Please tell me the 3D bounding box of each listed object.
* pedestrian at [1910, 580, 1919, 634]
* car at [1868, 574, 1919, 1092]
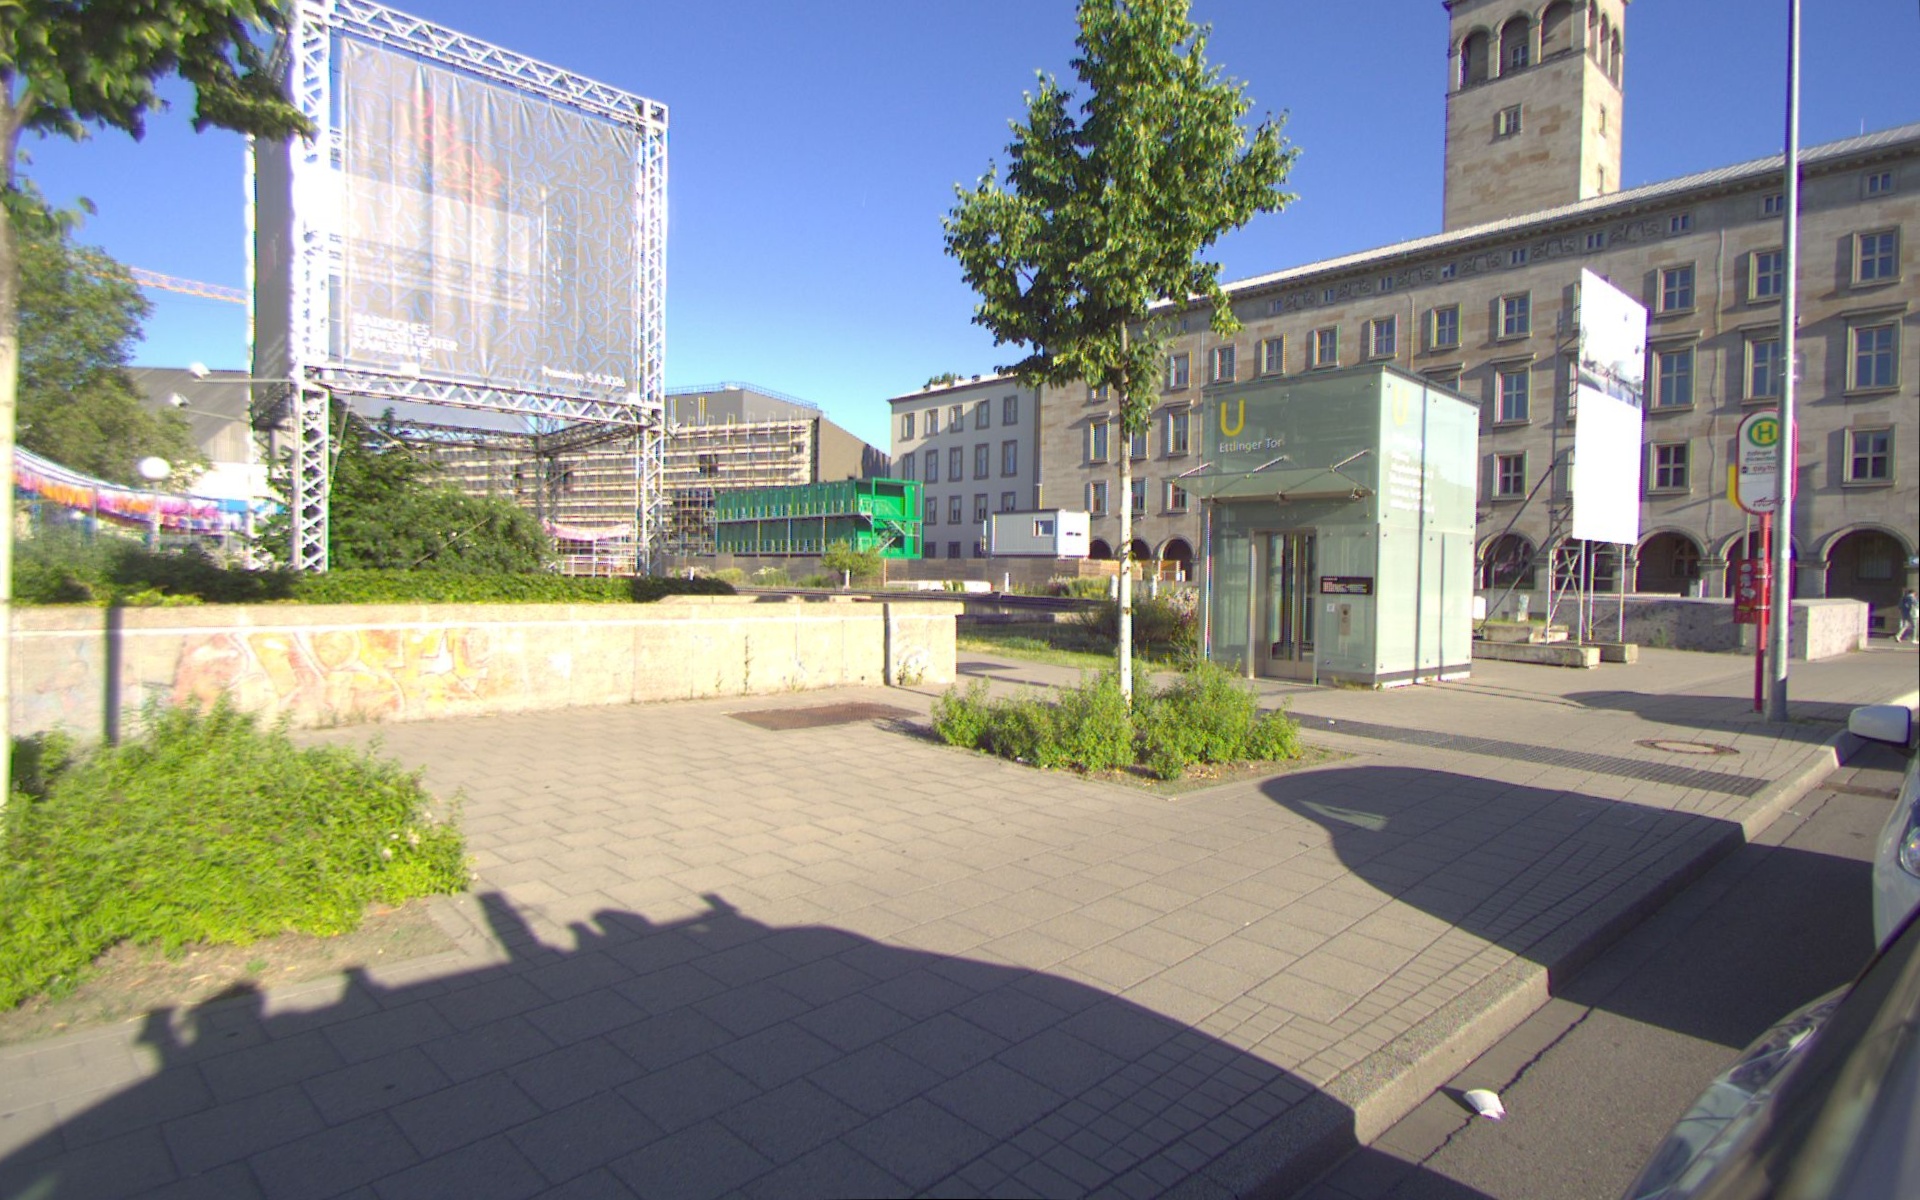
[{"bbox_3d":[31.004,0.220,32.512,0.572,1.732,0.595,0,1,-41],"label":"pedestrian"},{"bbox_3d":[4.646,0.679,3.667,3.930,1.473,1.518,0,2,-41],"label":"car"}]
